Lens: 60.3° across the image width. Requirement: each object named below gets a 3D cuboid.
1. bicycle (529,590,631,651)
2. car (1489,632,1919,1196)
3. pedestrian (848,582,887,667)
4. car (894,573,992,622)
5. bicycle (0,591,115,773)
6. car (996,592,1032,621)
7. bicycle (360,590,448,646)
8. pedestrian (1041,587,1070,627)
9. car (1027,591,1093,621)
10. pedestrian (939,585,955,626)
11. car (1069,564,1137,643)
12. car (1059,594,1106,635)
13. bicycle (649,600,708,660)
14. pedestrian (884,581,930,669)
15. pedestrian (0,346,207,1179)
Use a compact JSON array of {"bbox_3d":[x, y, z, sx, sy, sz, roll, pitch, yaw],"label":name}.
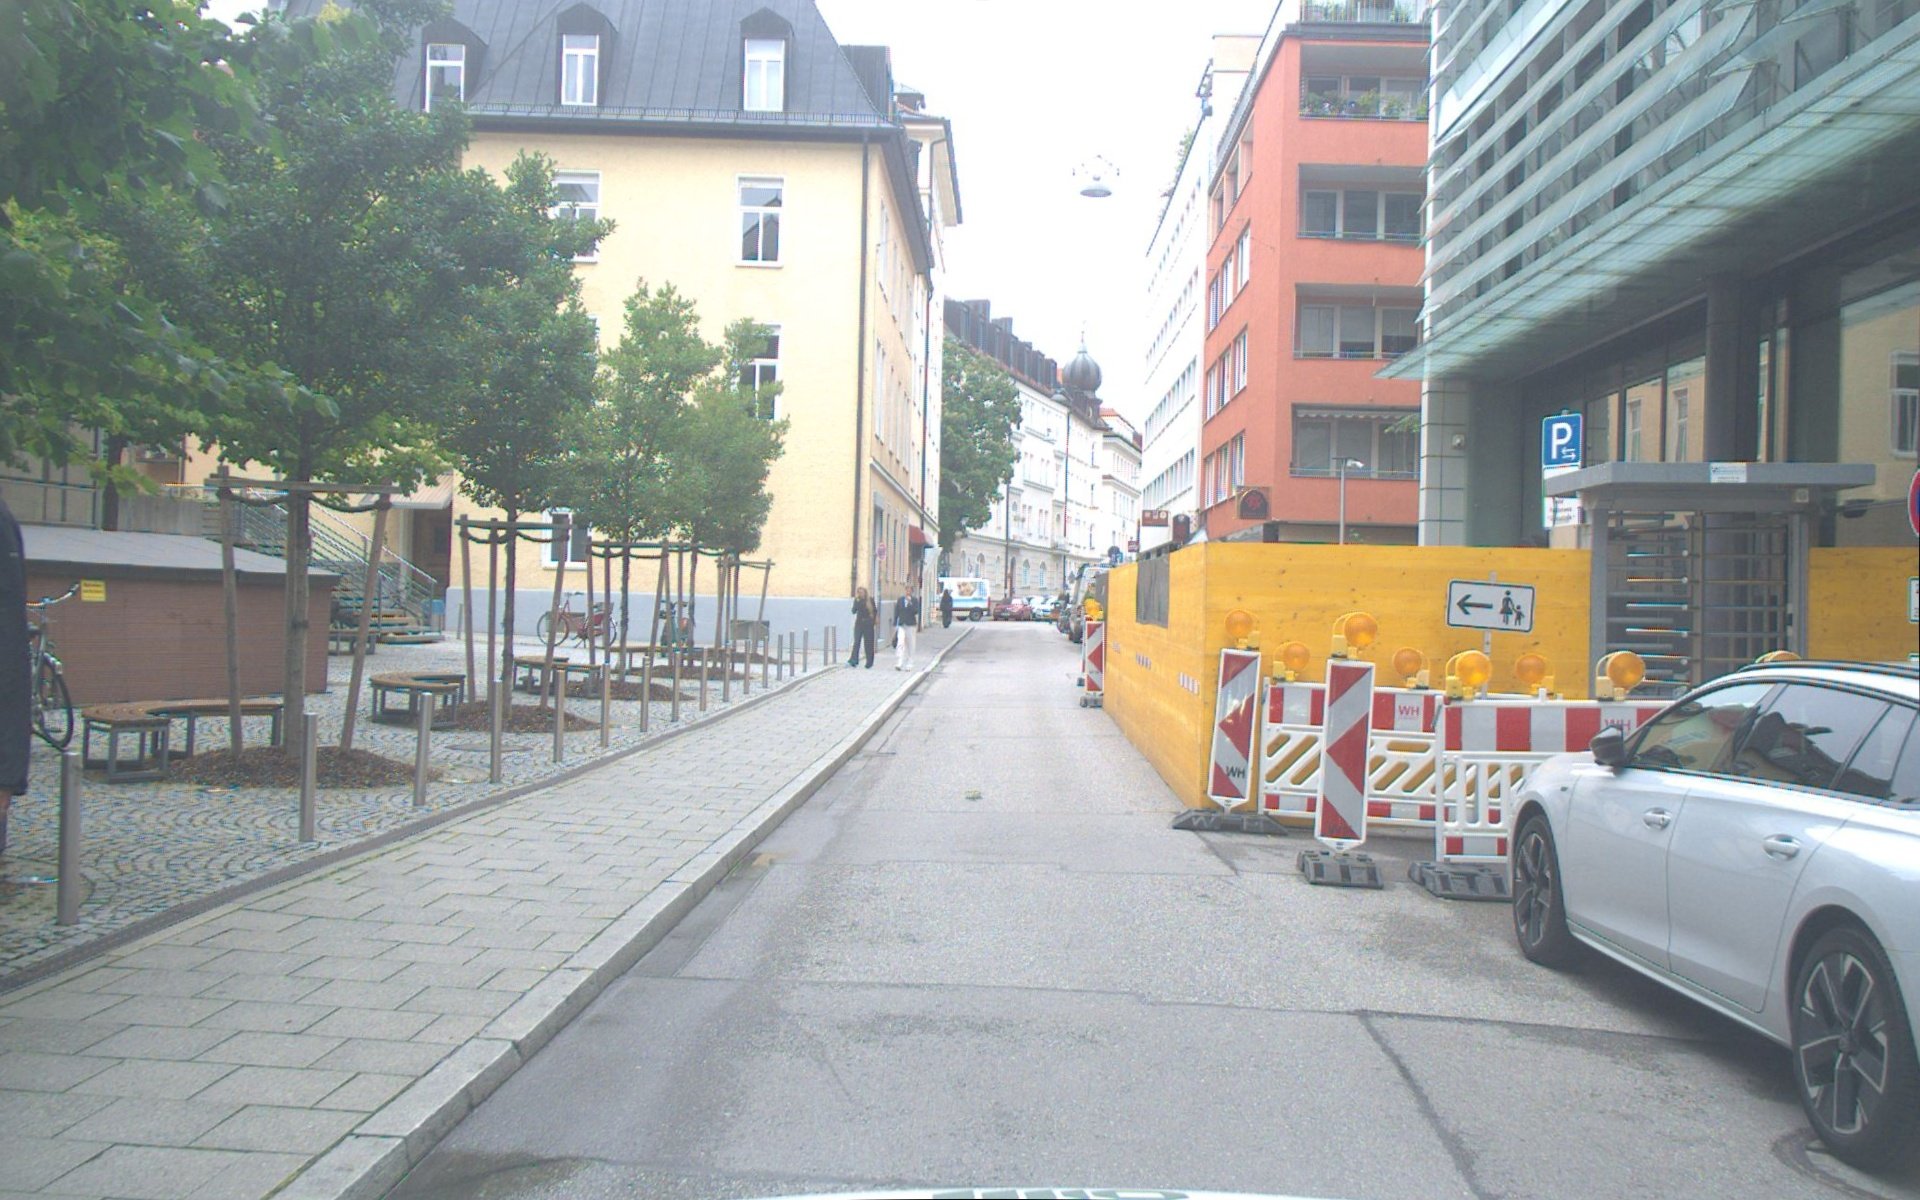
[{"bbox_3d":[-8.097,0.430,35.235,2.000,1.218,0.570,2,0,8],"label":"bicycle"},{"bbox_3d":[3.441,0.912,5.927,1.673,1.438,4.510,3,0,1],"label":"car"},{"bbox_3d":[-1.862,0.488,33.338,0.656,1.677,0.761,2,0,1],"label":"pedestrian"},{"bbox_3d":[-0.916,-0.123,89.630,4.918,2.440,1.983,2,0,-27],"label":"car"},{"bbox_3d":[-6.678,0.563,12.198,0.542,1.218,1.827,2,0,-20],"label":"bicycle"},{"bbox_3d":[3.224,0.392,98.097,1.655,1.601,4.003,2,0,9],"label":"car"},{"bbox_3d":[-11.774,0.379,35.046,1.621,1.088,0.598,3,0,5],"label":"bicycle"},{"bbox_3d":[5.047,0.397,87.481,1.109,2.049,1.410,2,0,18],"label":"pedestrian"},{"bbox_3d":[5.833,0.345,96.287,1.667,1.601,3.976,2,0,42],"label":"car"},{"bbox_3d":[-0.555,0.228,70.971,0.621,1.704,0.517,2,0,1],"label":"pedestrian"},{"bbox_3d":[4.966,0.108,58.047,1.952,2.581,4.975,2,0,1],"label":"car"},{"bbox_3d":[5.285,0.601,71.755,1.751,1.654,4.273,2,0,1],"label":"car"},{"bbox_3d":[-5.674,0.599,33.450,0.499,1.164,2.054,2,0,9],"label":"bicycle"},{"bbox_3d":[-1.058,0.500,33.302,0.822,1.730,0.803,2,0,1],"label":"pedestrian"},{"bbox_3d":[-2.611,0.369,4.131,0.850,1.914,1.135,2,0,0],"label":"pedestrian"}]
